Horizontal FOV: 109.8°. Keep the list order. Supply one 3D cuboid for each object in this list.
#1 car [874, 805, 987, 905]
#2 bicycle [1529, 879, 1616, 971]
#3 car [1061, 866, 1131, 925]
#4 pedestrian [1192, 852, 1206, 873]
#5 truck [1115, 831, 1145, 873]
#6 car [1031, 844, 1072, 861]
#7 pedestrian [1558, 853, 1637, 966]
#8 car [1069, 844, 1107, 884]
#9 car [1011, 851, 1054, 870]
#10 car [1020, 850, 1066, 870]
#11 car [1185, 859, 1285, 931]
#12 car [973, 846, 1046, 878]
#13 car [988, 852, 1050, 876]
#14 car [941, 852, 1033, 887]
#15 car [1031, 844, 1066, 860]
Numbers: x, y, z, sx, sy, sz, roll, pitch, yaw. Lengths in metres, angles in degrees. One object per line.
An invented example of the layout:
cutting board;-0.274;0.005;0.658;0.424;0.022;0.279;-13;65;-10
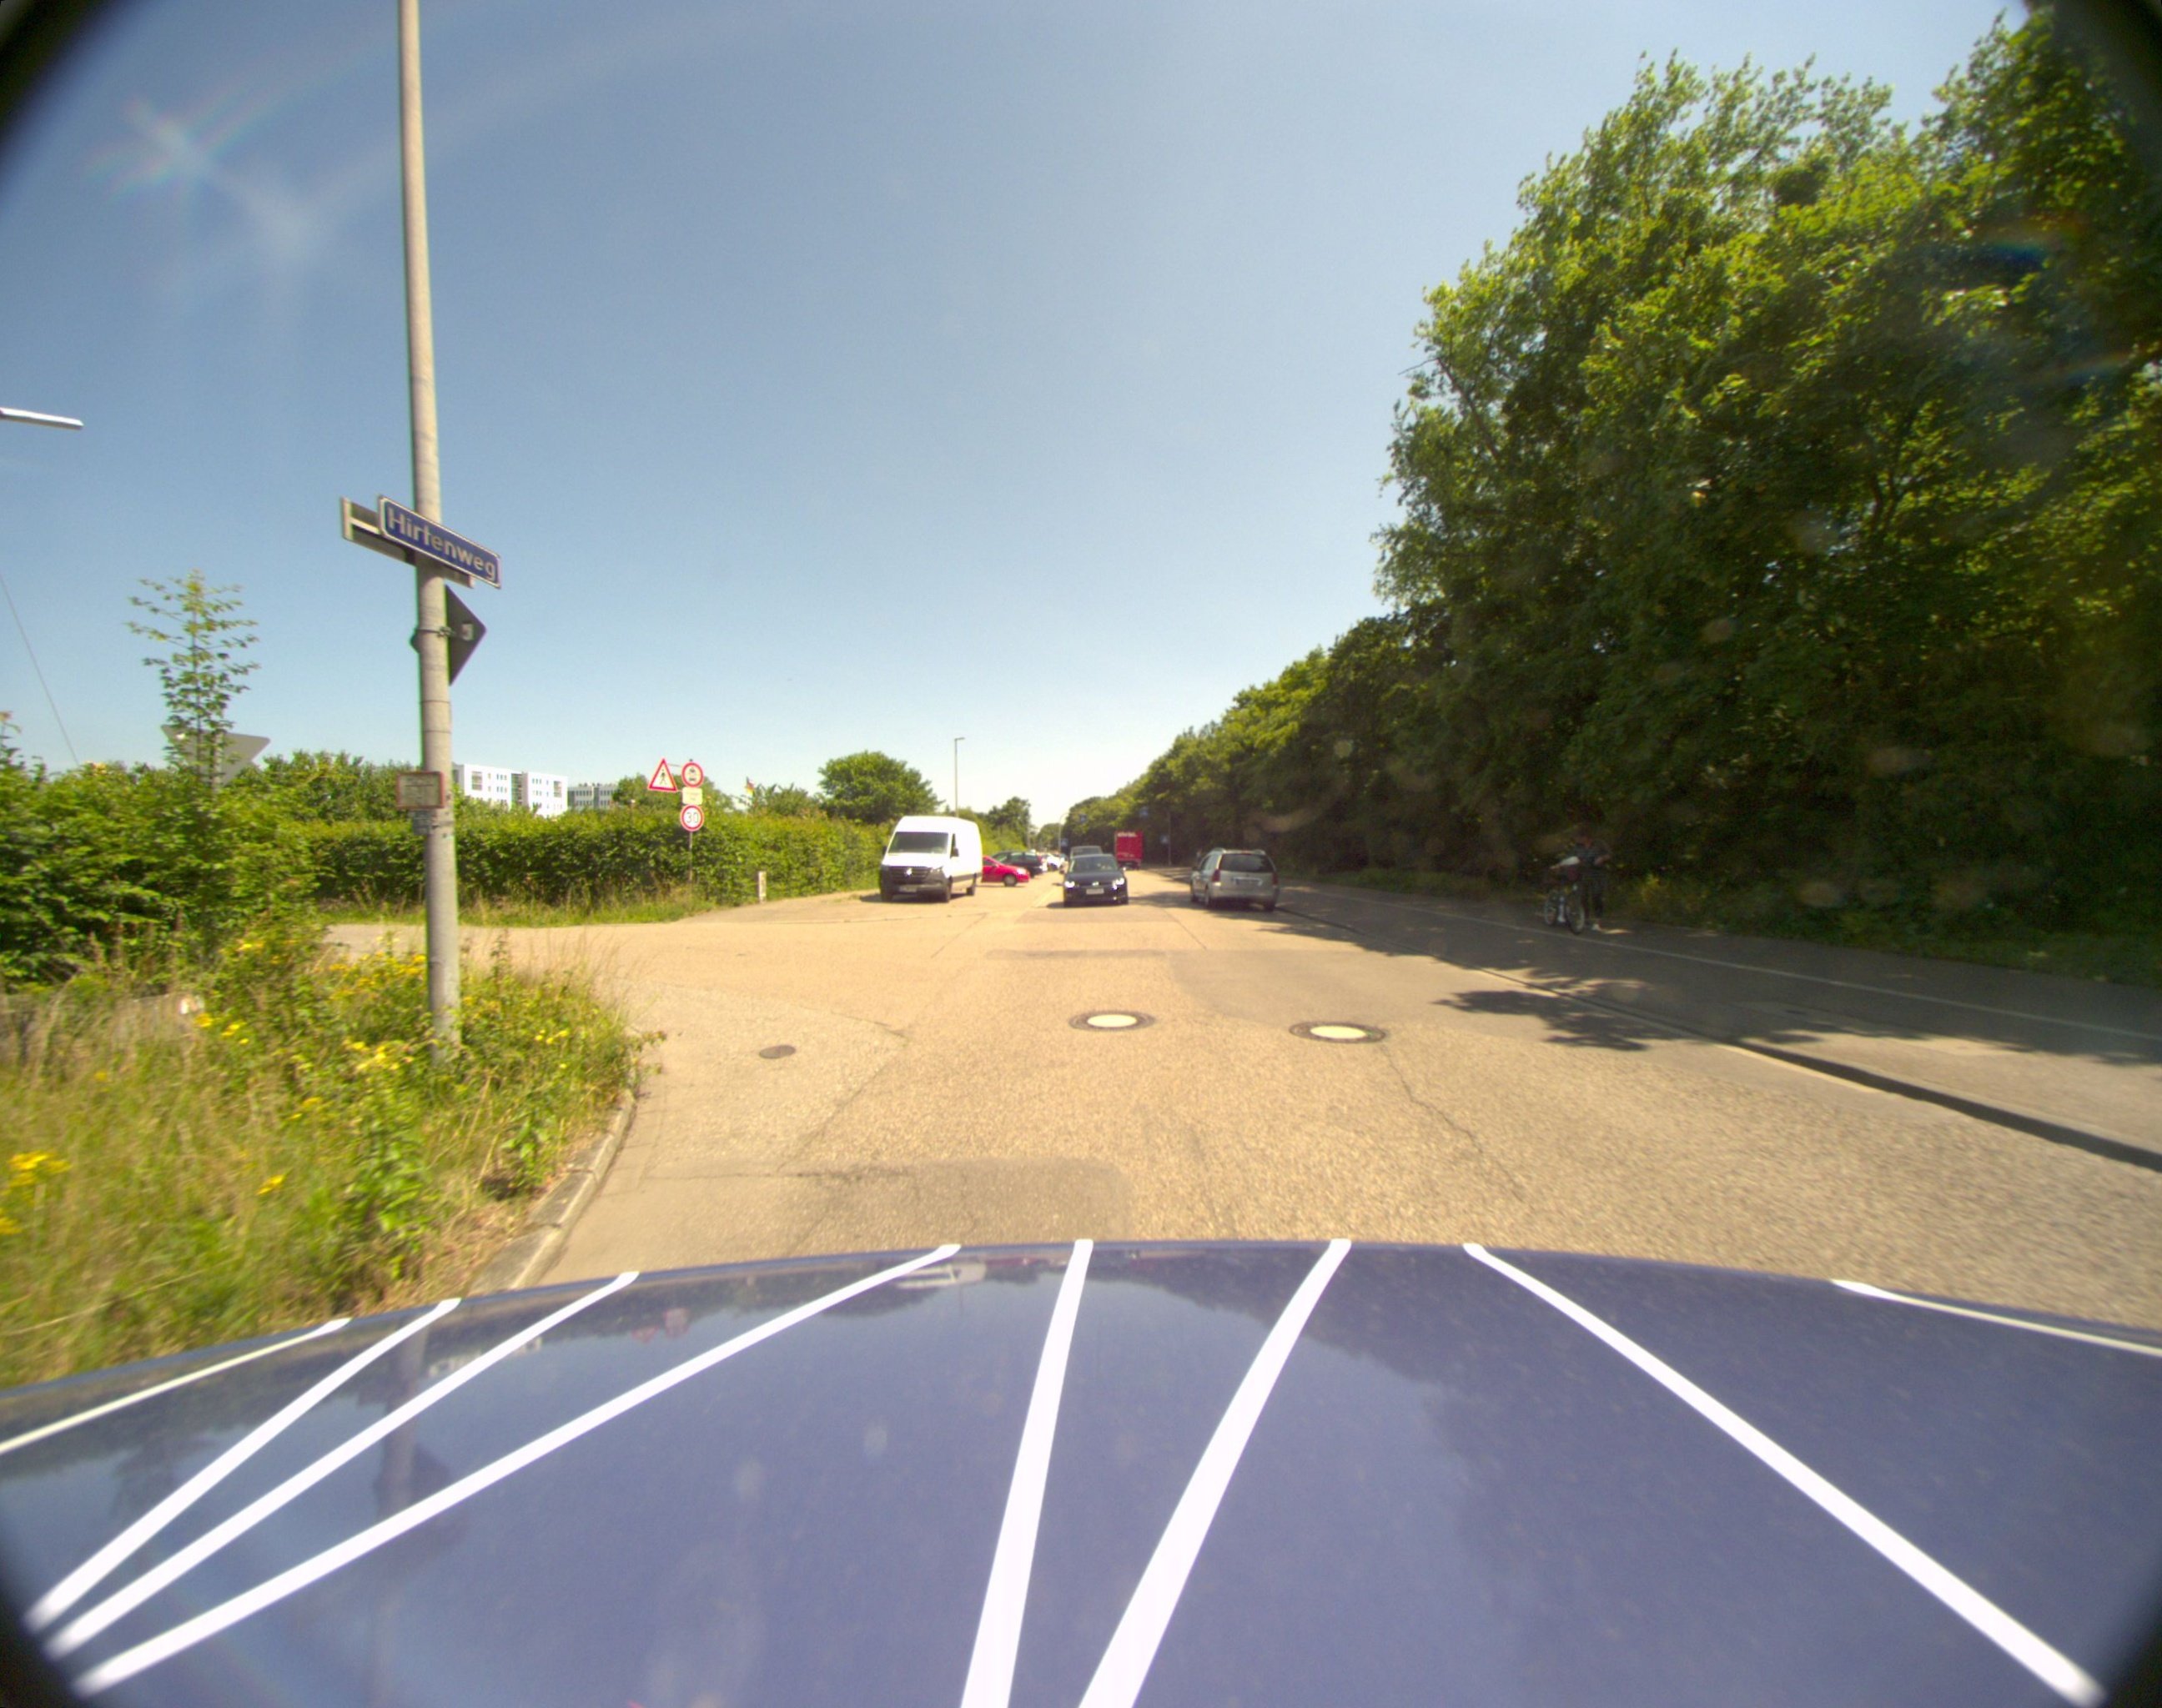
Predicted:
car;-4.644;0.036;24.768;1.959;2.717;7.168;2;0;2
bicycle;7.857;1.093;12.237;0.522;1.229;1.962;-2;1;13
car;0.328;1.056;21.113;1.743;1.396;4.387;0;0;-1
pedestrian;9.446;0.693;60.643;0.934;1.603;0.885;-1;1;0
truck;4.281;-0.150;67.605;2.328;3.420;7.161;3;0;2
car;-3.289;-0.192;85.631;4.464;1.719;1.851;2;1;1
pedestrian;8.163;0.844;12.024;0.812;1.708;0.775;-1;1;-34
car;0.296;0.483;39.040;1.743;1.905;4.387;-1;0;-1
car;-4.043;0.520;64.043;3.395;1.495;1.588;2;0;4
car;-3.369;0.509;67.044;3.974;1.514;1.863;3;0;-5
car;4.028;1.021;20.566;1.796;1.563;4.271;3;1;1
car;-4.507;0.488;48.381;4.465;1.794;1.952;2;1;-4
car;-4.423;0.719;54.581;4.287;1.569;1.765;2;0;-1
car;-4.342;0.720;35.568;4.065;1.425;1.835;2;0;-2
car;-3.765;-0.227;88.714;3.983;1.676;1.766;1;0;0
